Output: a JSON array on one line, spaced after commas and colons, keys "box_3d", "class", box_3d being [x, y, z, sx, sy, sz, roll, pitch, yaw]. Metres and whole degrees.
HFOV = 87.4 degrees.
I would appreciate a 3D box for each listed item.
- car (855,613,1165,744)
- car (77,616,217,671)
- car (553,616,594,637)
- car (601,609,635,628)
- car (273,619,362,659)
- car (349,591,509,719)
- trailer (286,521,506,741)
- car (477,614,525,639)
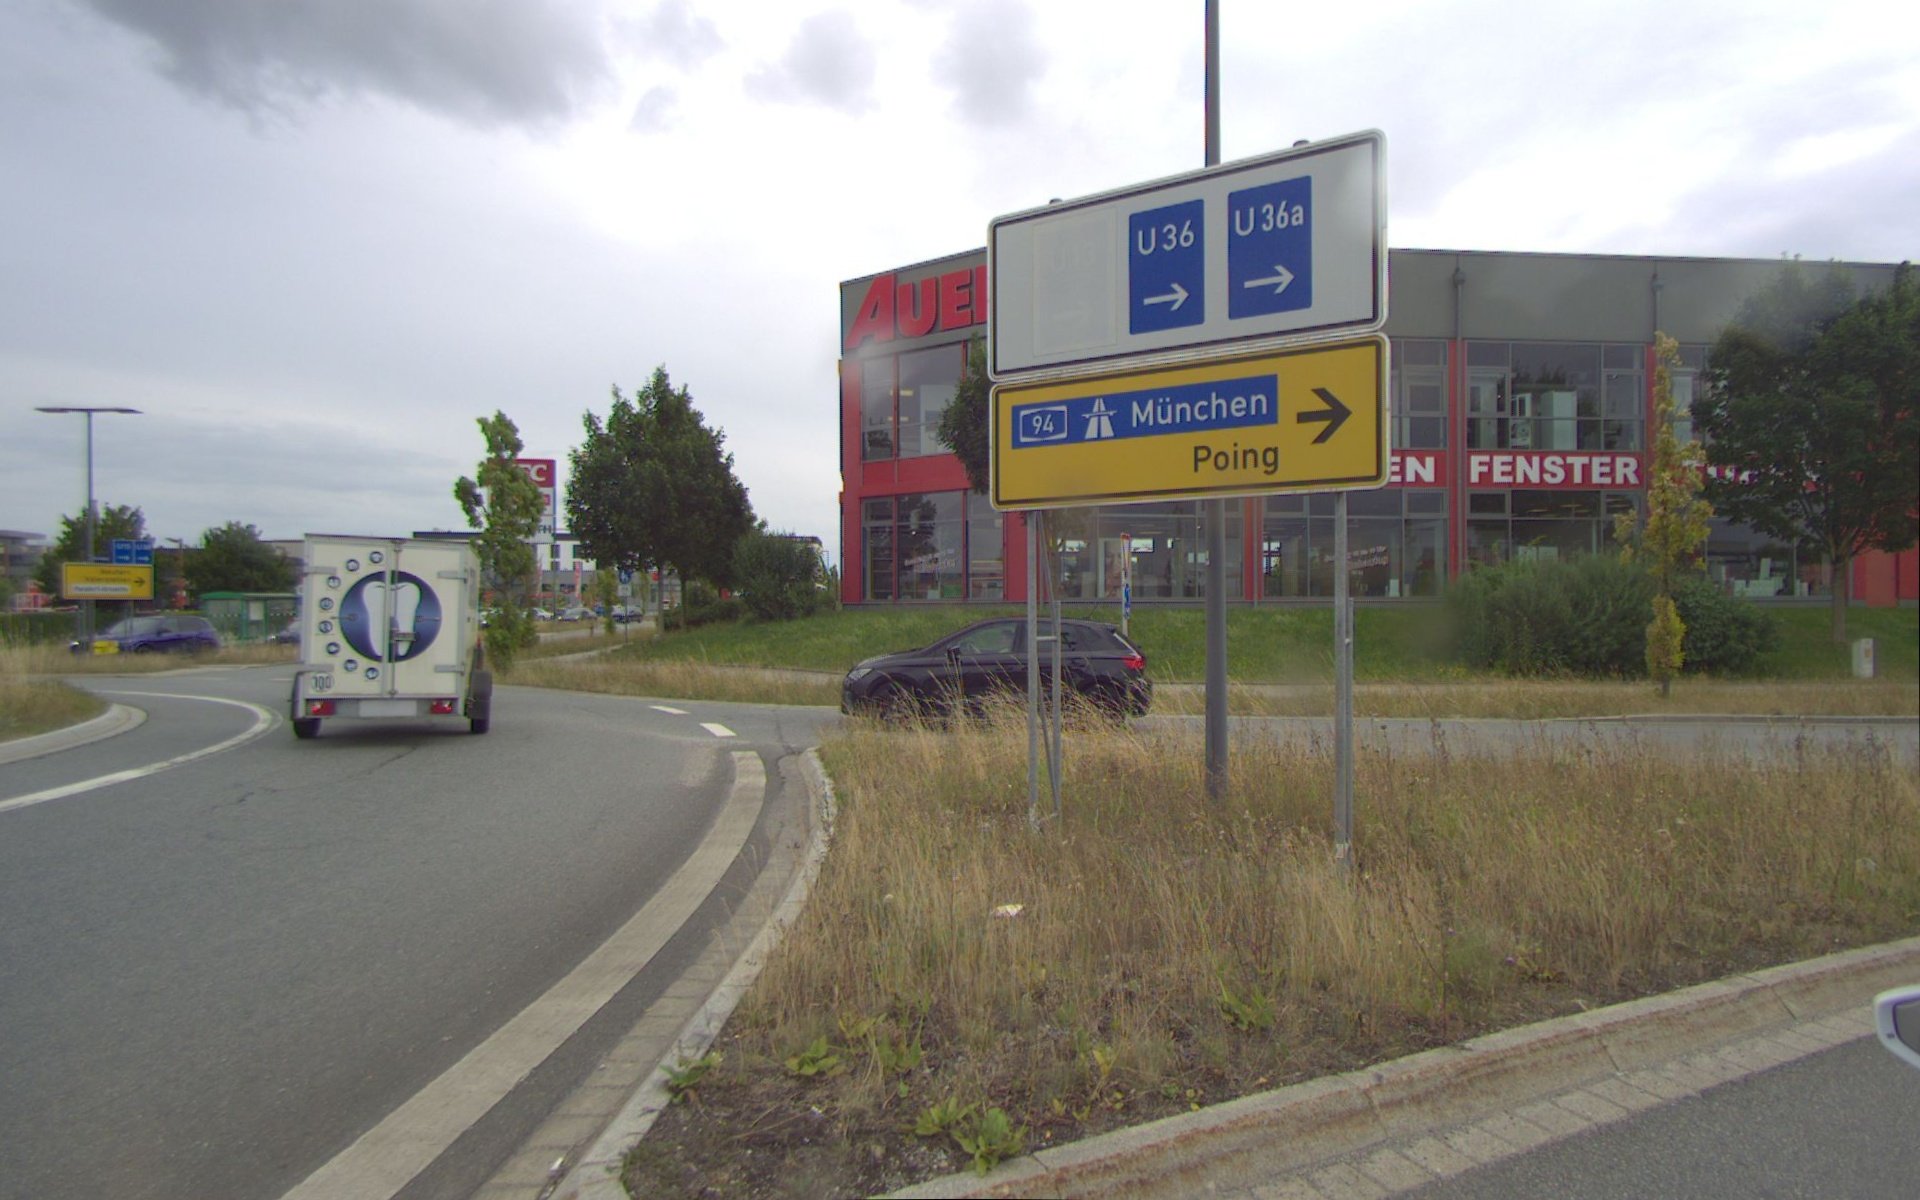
[{"box_3d": [0.648, 0.941, 12.830, 3.692, 1.478, 1.646, 1, 0, 5], "class": "car"}, {"box_3d": [-27.659, 1.448, 34.354, 1.861, 1.681, 4.014, 1, 0, -7], "class": "car"}, {"box_3d": [-32.094, 2.168, 83.478, 1.961, 1.655, 3.999, 1, 0, -2], "class": "car"}, {"box_3d": [-32.006, 1.690, 94.108, 1.961, 1.655, 3.999, 1, 0, -2], "class": "car"}, {"box_3d": [-28.548, 1.716, 44.782, 1.802, 1.585, 3.833, 1, 0, -7], "class": "car"}, {"box_3d": [-8.113, 0.768, 15.729, 1.791, 1.692, 4.591, 0, -1, -23], "class": "car"}, {"box_3d": [-6.443, 0.356, 11.917, 1.787, 2.119, 4.123, 1, -2, -23], "class": "trailer"}, {"box_3d": [-31.466, 1.813, 69.009, 1.906, 1.617, 3.767, 1, 0, -7], "class": "car"}]
